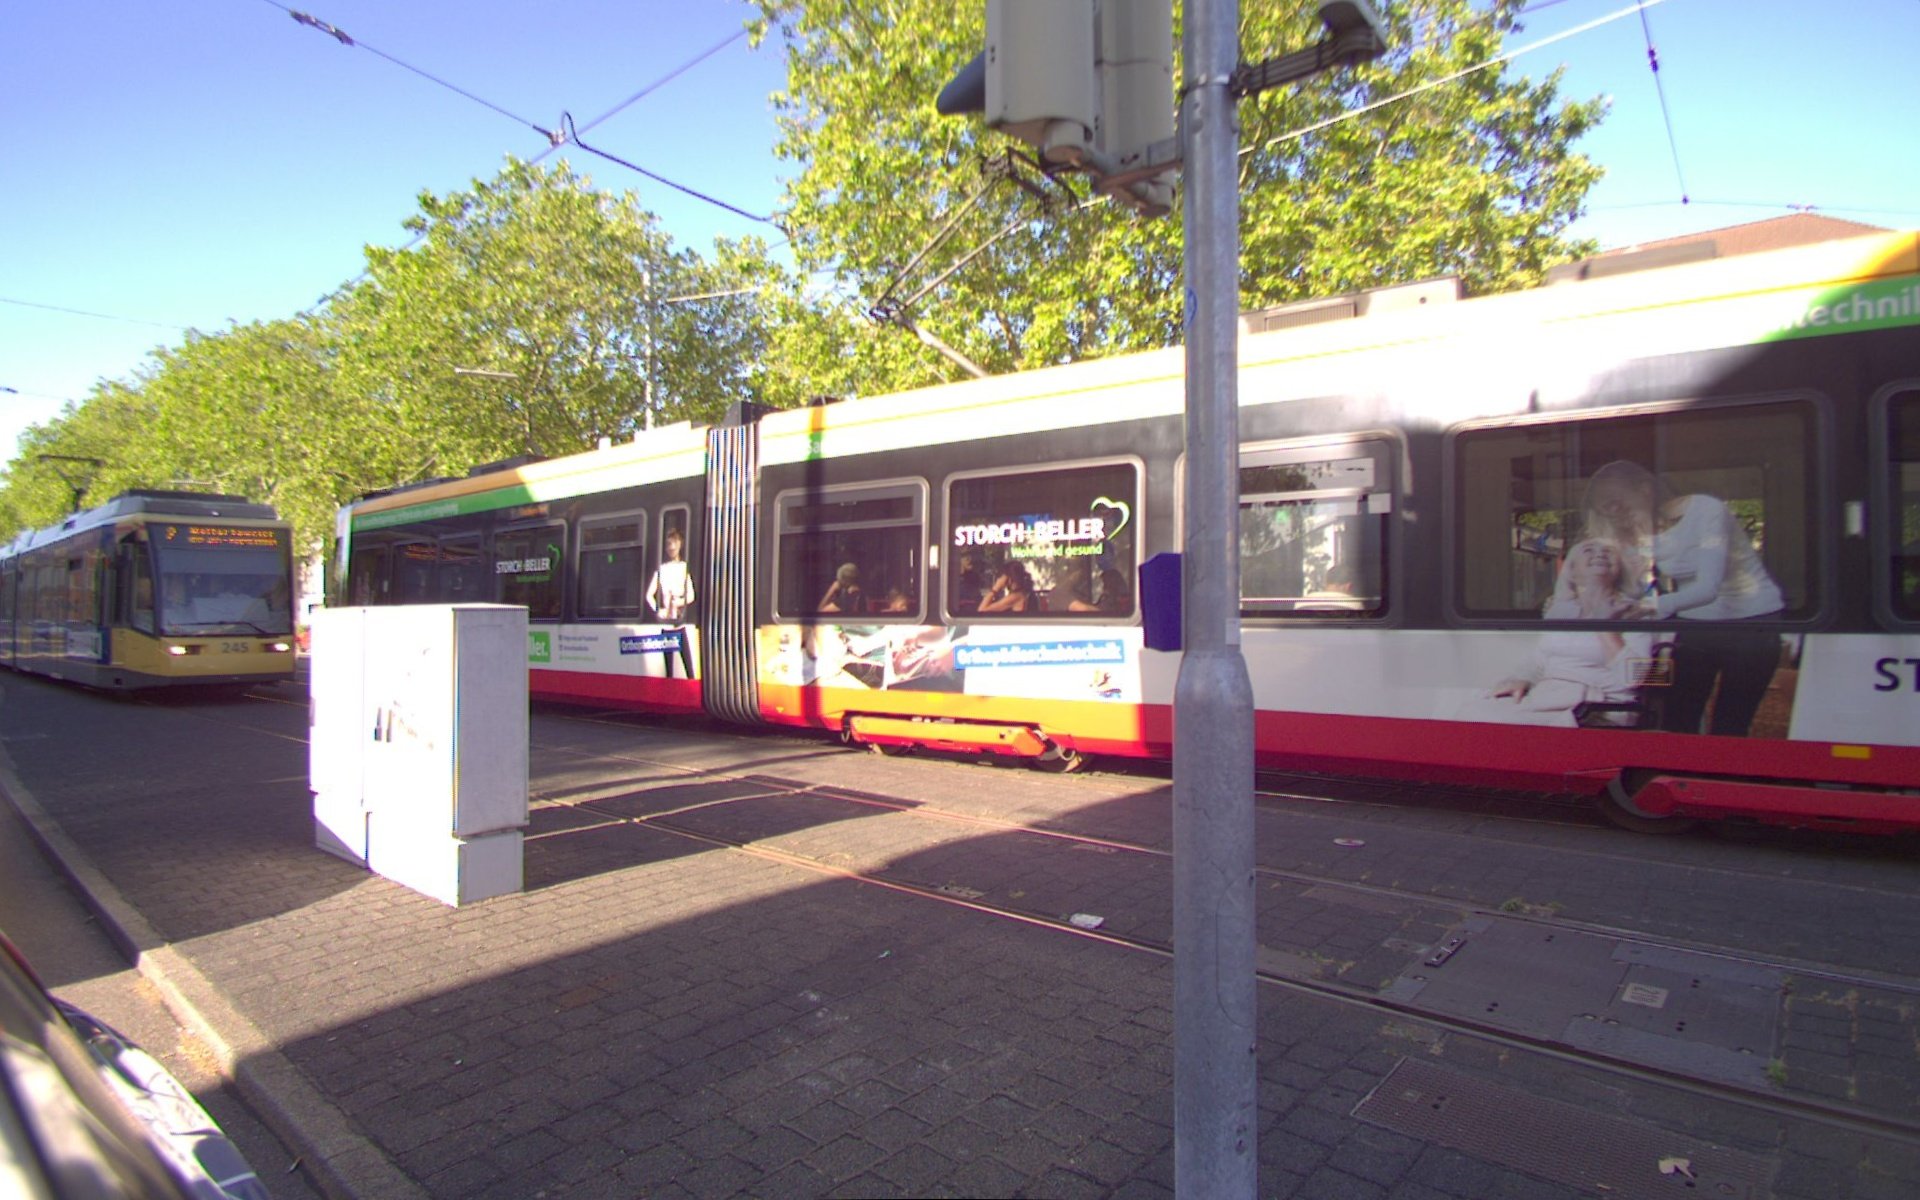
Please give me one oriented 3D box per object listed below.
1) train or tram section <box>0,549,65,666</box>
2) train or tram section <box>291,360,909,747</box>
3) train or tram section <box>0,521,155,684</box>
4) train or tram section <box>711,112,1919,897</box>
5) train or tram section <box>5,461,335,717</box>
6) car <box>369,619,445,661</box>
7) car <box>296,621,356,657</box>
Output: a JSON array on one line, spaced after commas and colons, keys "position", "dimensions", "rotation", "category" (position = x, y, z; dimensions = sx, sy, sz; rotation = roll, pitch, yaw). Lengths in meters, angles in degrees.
[{"position": [-35.003, 0.346, 36.290], "dimensions": [12.646, 3.692, 2.683], "rotation": [-1, -1, 41], "category": "train or tram section"}, {"position": [-6.465, -0.350, 15.437], "dimensions": [13.047, 3.843, 2.901], "rotation": [-1, -1, 41], "category": "train or tram section"}, {"position": [-25.479, 0.168, 28.017], "dimensions": [12.646, 3.692, 2.683], "rotation": [-1, -1, 41], "category": "train or tram section"}, {"position": [3.596, -0.422, 7.499], "dimensions": [12.790, 3.843, 2.907], "rotation": [-1, -1, 35], "category": "train or tram section"}, {"position": [-15.935, -0.049, 19.769], "dimensions": [12.646, 3.692, 2.683], "rotation": [-1, -1, 41], "category": "train or tram section"}, {"position": [-21.884, 1.551, 39.989], "dimensions": [3.303, 1.519, 1.579], "rotation": [-1, 1, 41], "category": "car"}, {"position": [-28.695, 1.749, 45.815], "dimensions": [2.621, 1.519, 1.579], "rotation": [-1, 1, 41], "category": "car"}]
